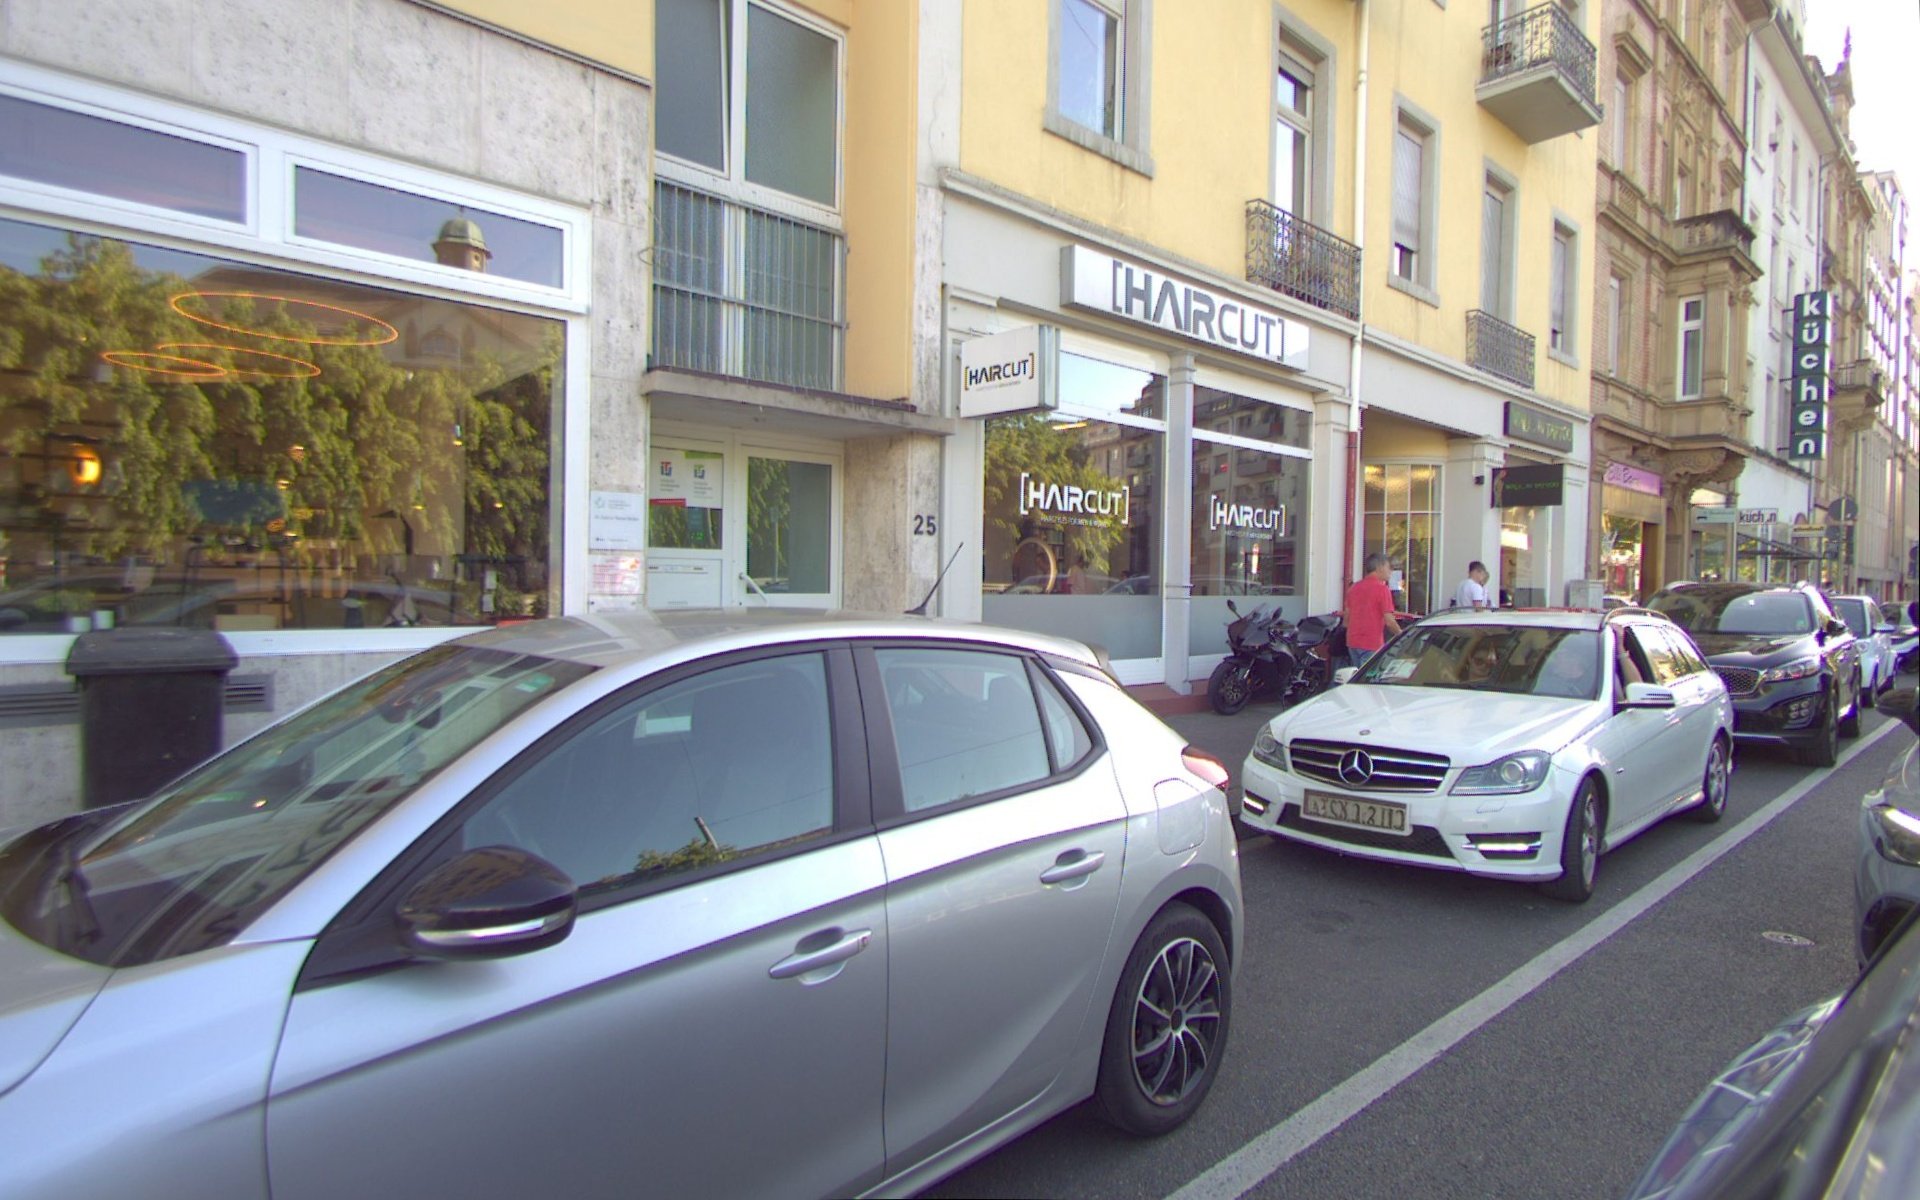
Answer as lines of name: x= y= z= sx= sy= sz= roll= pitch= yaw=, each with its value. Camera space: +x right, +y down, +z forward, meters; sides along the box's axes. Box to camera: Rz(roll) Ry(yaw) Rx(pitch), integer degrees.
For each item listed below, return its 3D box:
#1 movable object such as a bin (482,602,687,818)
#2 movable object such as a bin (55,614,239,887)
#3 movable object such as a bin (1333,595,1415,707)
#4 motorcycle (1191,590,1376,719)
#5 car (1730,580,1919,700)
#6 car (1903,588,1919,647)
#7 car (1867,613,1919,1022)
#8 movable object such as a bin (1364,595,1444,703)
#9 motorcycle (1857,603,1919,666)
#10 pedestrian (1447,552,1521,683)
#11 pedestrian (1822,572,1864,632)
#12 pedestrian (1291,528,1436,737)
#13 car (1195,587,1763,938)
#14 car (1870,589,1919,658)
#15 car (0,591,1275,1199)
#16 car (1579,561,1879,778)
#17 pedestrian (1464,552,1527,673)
movable object such as a bin: x=-2.113 y=0.560 z=5.694 sx=0.878 sy=1.066 sz=0.752 roll=0 pitch=1 yaw=-40
movable object such as a bin: x=-3.591 y=0.599 z=4.481 sx=0.591 sy=1.041 sz=0.812 roll=0 pitch=1 yaw=-40
movable object such as a bin: x=4.746 y=0.562 z=11.594 sx=0.633 sy=1.222 sz=0.647 roll=0 pitch=0 yaw=-40
motorcycle: x=3.431 y=0.514 z=10.621 sx=2.208 sy=1.179 sz=0.773 roll=0 pitch=4 yaw=-41
car: x=12.884 y=0.506 z=15.039 sx=2.965 sy=1.587 sz=1.695 roll=0 pitch=1 yaw=-40
car: x=26.510 y=0.458 z=26.955 sx=3.931 sy=1.504 sz=1.713 roll=0 pitch=1 yaw=-42
car: x=5.406 y=0.769 z=4.346 sx=4.183 sy=1.396 sz=1.846 roll=0 pitch=1 yaw=-42
movable object such as a bin: x=5.256 y=0.555 z=11.983 sx=0.633 sy=1.222 sz=0.647 roll=0 pitch=0 yaw=-40
motorcycle: x=19.398 y=0.689 z=20.612 sx=1.514 sy=1.248 sz=0.771 roll=0 pitch=0 yaw=1
pedestrian: x=6.779 y=0.208 z=13.102 sx=0.689 sy=1.637 sz=0.641 roll=0 pitch=0 yaw=-42
pedestrian: x=24.617 y=0.054 z=28.214 sx=0.750 sy=1.637 sz=0.794 roll=0 pitch=1 yaw=-43
pedestrian: x=3.782 y=0.253 z=9.483 sx=0.864 sy=1.805 sz=0.993 roll=6 pitch=5 yaw=43
car: x=3.563 y=0.671 z=6.479 sx=4.519 sy=1.480 sz=1.757 roll=0 pitch=1 yaw=-42
car: x=22.280 y=0.503 z=23.202 sx=3.931 sy=1.504 sz=1.713 roll=0 pitch=1 yaw=-42
car: x=-0.922 y=0.696 z=2.413 sx=3.644 sy=1.415 sz=1.651 roll=0 pitch=1 yaw=-44
car: x=7.985 y=0.518 z=10.316 sx=1.853 sy=1.719 sz=4.623 roll=1 pitch=1 yaw=45
pedestrian: x=7.476 y=0.160 z=14.119 sx=0.631 sy=1.637 sz=0.572 roll=0 pitch=0 yaw=-40
